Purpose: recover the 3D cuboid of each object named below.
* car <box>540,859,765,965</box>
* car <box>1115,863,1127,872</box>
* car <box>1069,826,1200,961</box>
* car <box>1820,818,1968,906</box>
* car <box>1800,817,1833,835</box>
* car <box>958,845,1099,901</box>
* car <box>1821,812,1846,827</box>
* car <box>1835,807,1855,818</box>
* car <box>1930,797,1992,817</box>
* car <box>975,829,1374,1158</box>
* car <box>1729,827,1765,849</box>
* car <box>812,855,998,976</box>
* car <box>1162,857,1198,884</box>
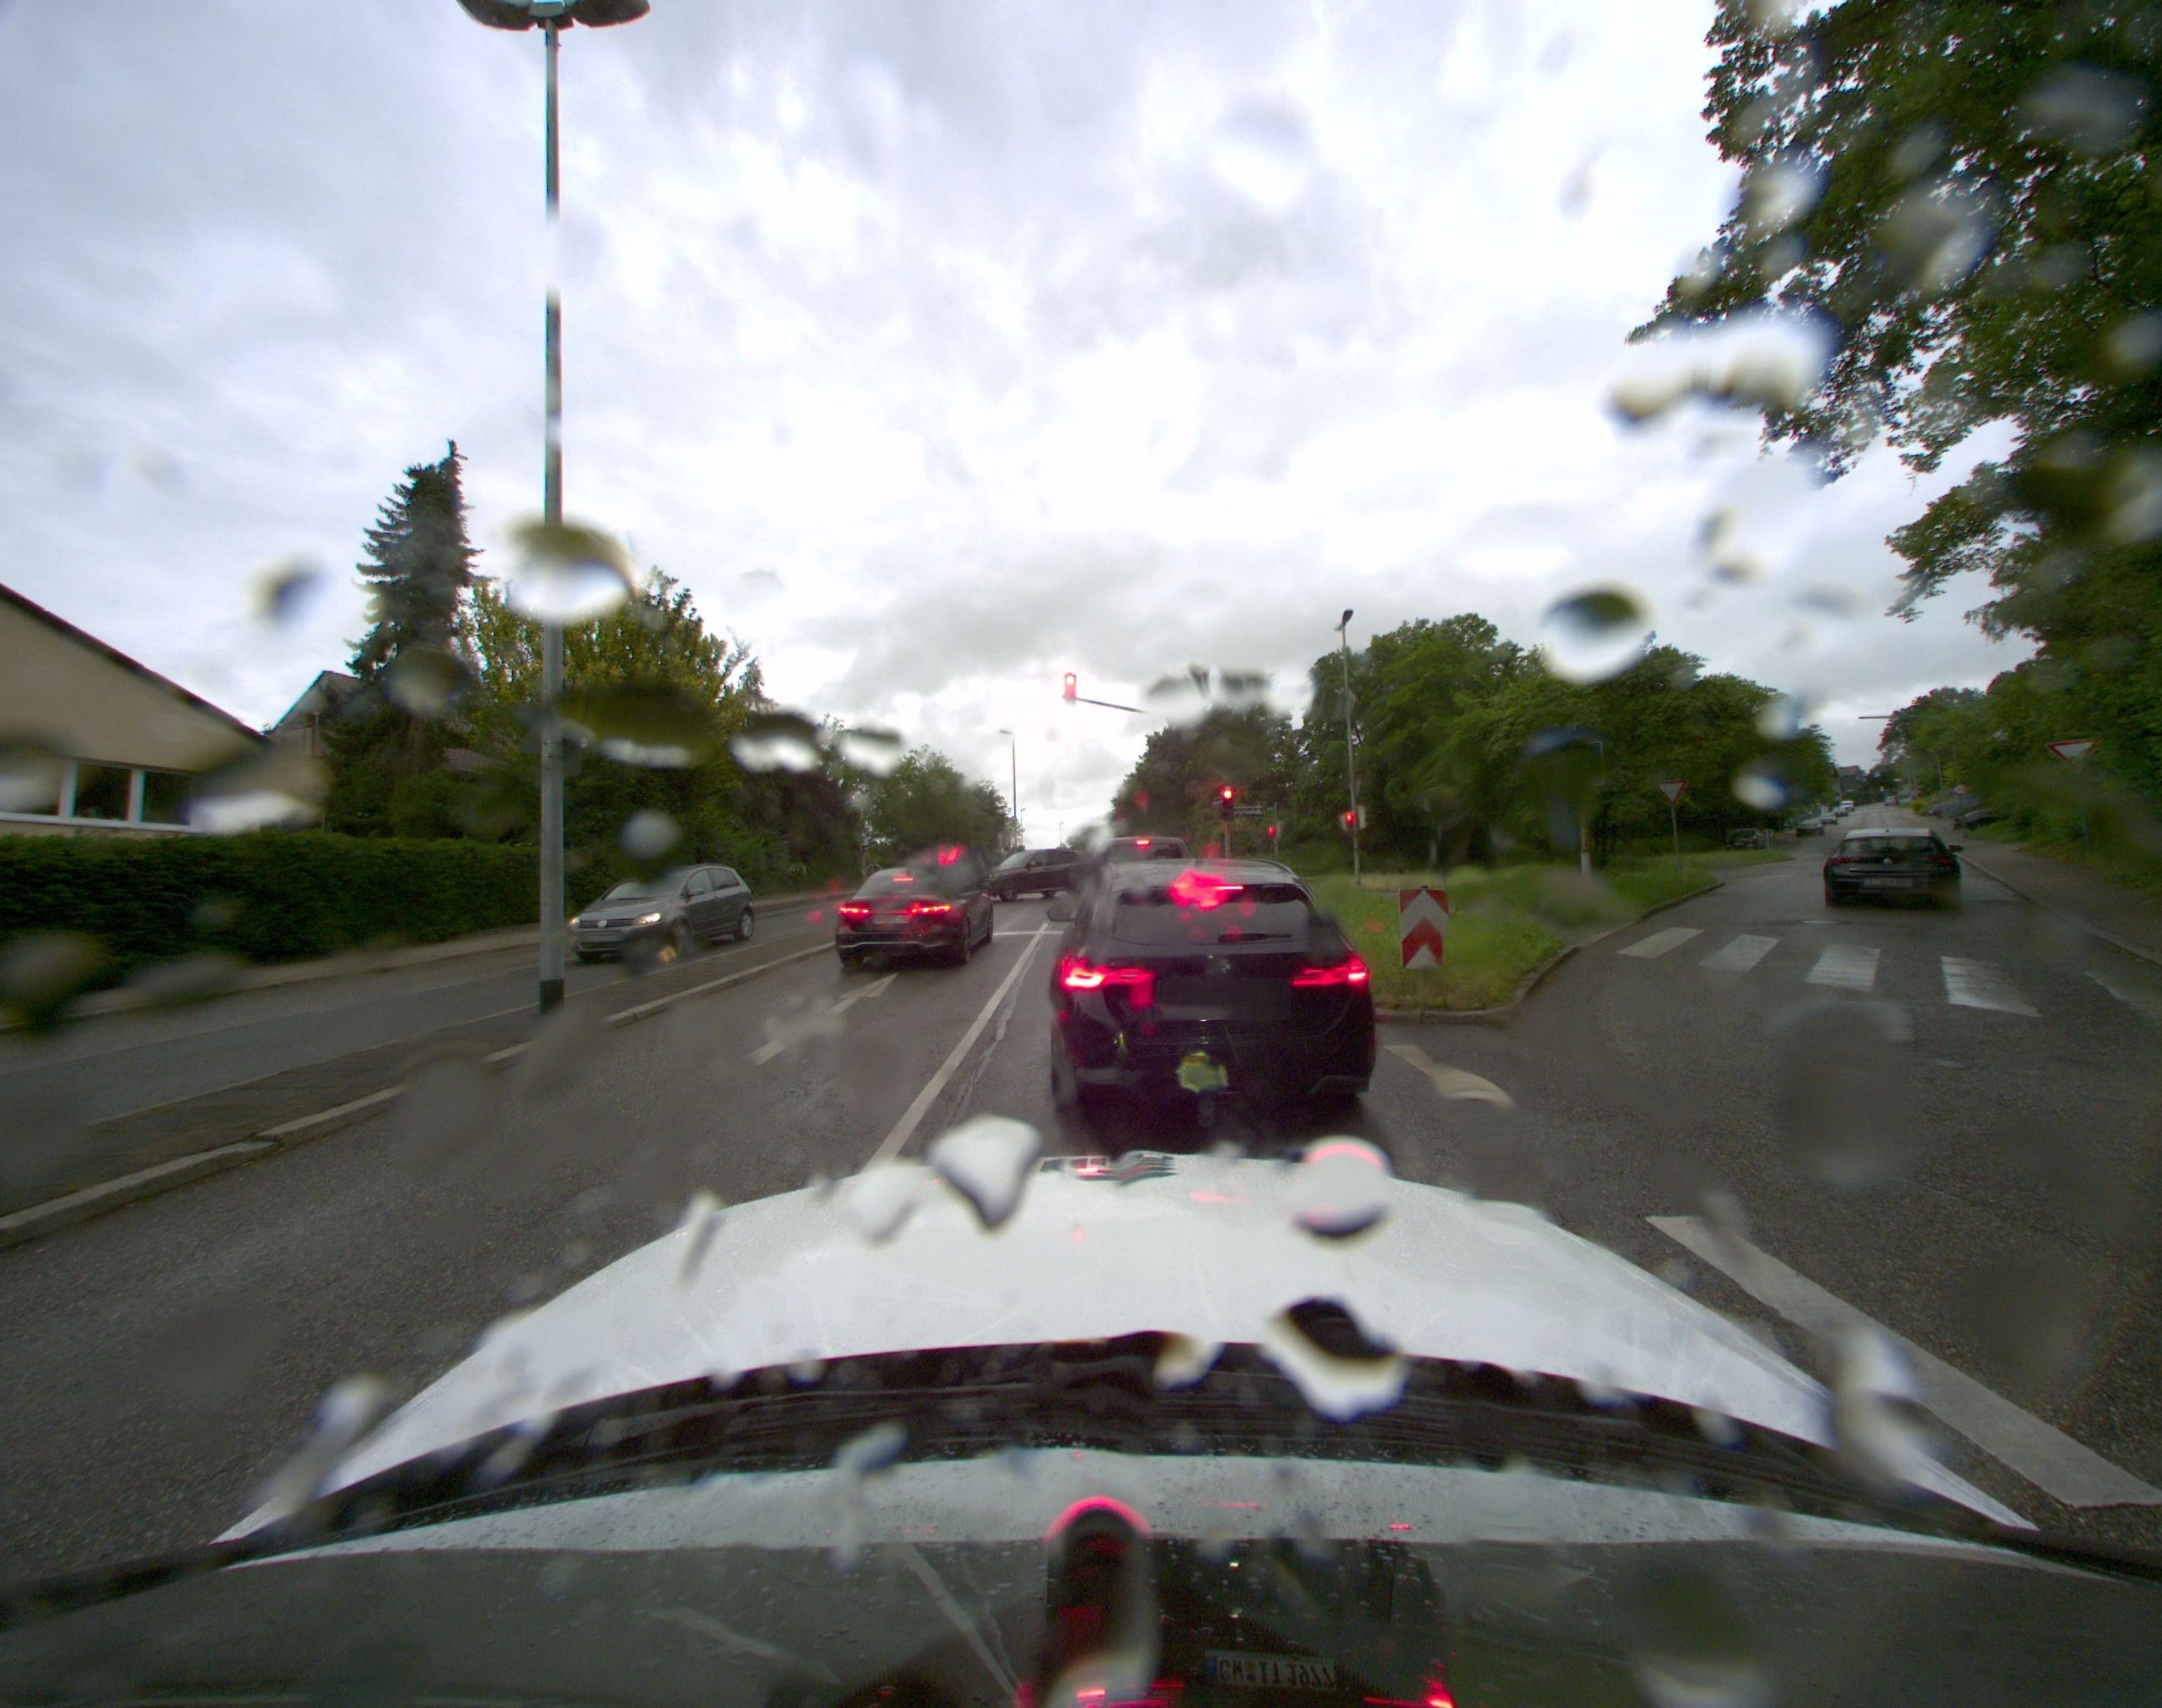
[{"bbox_3d":[-7.745,0.956,15.232,1.734,1.602,4.037,-3,0,5],"label":"car"},{"bbox_3d":[8.035,2.769,163.917,1.983,1.624,3.960,-4,-1,7],"label":"car"},{"bbox_3d":[0.834,0.575,13.451,1.811,1.868,3.954,-1,-1,2],"label":"car"},{"bbox_3d":[15.868,0.109,15.922,4.187,1.443,1.795,-4,0,-44],"label":"car"},{"bbox_3d":[66.282,-2.491,73.384,4.318,1.450,1.881,0,-1,-44],"label":"car"},{"bbox_3d":[-1.843,0.656,29.347,4.741,1.717,1.977,-3,0,-39],"label":"car"},{"bbox_3d":[88.215,-4.005,95.513,1.971,1.446,4.321,-2,-1,40],"label":"car"},{"bbox_3d":[114.510,-6.155,122.038,1.880,1.397,4.193,-2,-1,40],"label":"car"},{"bbox_3d":[87.623,-4.655,81.158,3.949,1.574,1.785,-5,-2,42],"label":"car"},{"bbox_3d":[0.648,0.716,6.229,1.889,1.551,4.621,-1,-1,5],"label":"car"},{"bbox_3d":[46.028,-1.113,56.268,1.655,1.370,3.511,-3,0,43],"label":"car"},{"bbox_3d":[-2.612,0.860,13.204,1.987,1.527,4.326,-4,-1,0],"label":"car"},{"bbox_3d":[6.336,1.027,52.407,1.866,1.543,3.954,-4,-1,2],"label":"car"}]
